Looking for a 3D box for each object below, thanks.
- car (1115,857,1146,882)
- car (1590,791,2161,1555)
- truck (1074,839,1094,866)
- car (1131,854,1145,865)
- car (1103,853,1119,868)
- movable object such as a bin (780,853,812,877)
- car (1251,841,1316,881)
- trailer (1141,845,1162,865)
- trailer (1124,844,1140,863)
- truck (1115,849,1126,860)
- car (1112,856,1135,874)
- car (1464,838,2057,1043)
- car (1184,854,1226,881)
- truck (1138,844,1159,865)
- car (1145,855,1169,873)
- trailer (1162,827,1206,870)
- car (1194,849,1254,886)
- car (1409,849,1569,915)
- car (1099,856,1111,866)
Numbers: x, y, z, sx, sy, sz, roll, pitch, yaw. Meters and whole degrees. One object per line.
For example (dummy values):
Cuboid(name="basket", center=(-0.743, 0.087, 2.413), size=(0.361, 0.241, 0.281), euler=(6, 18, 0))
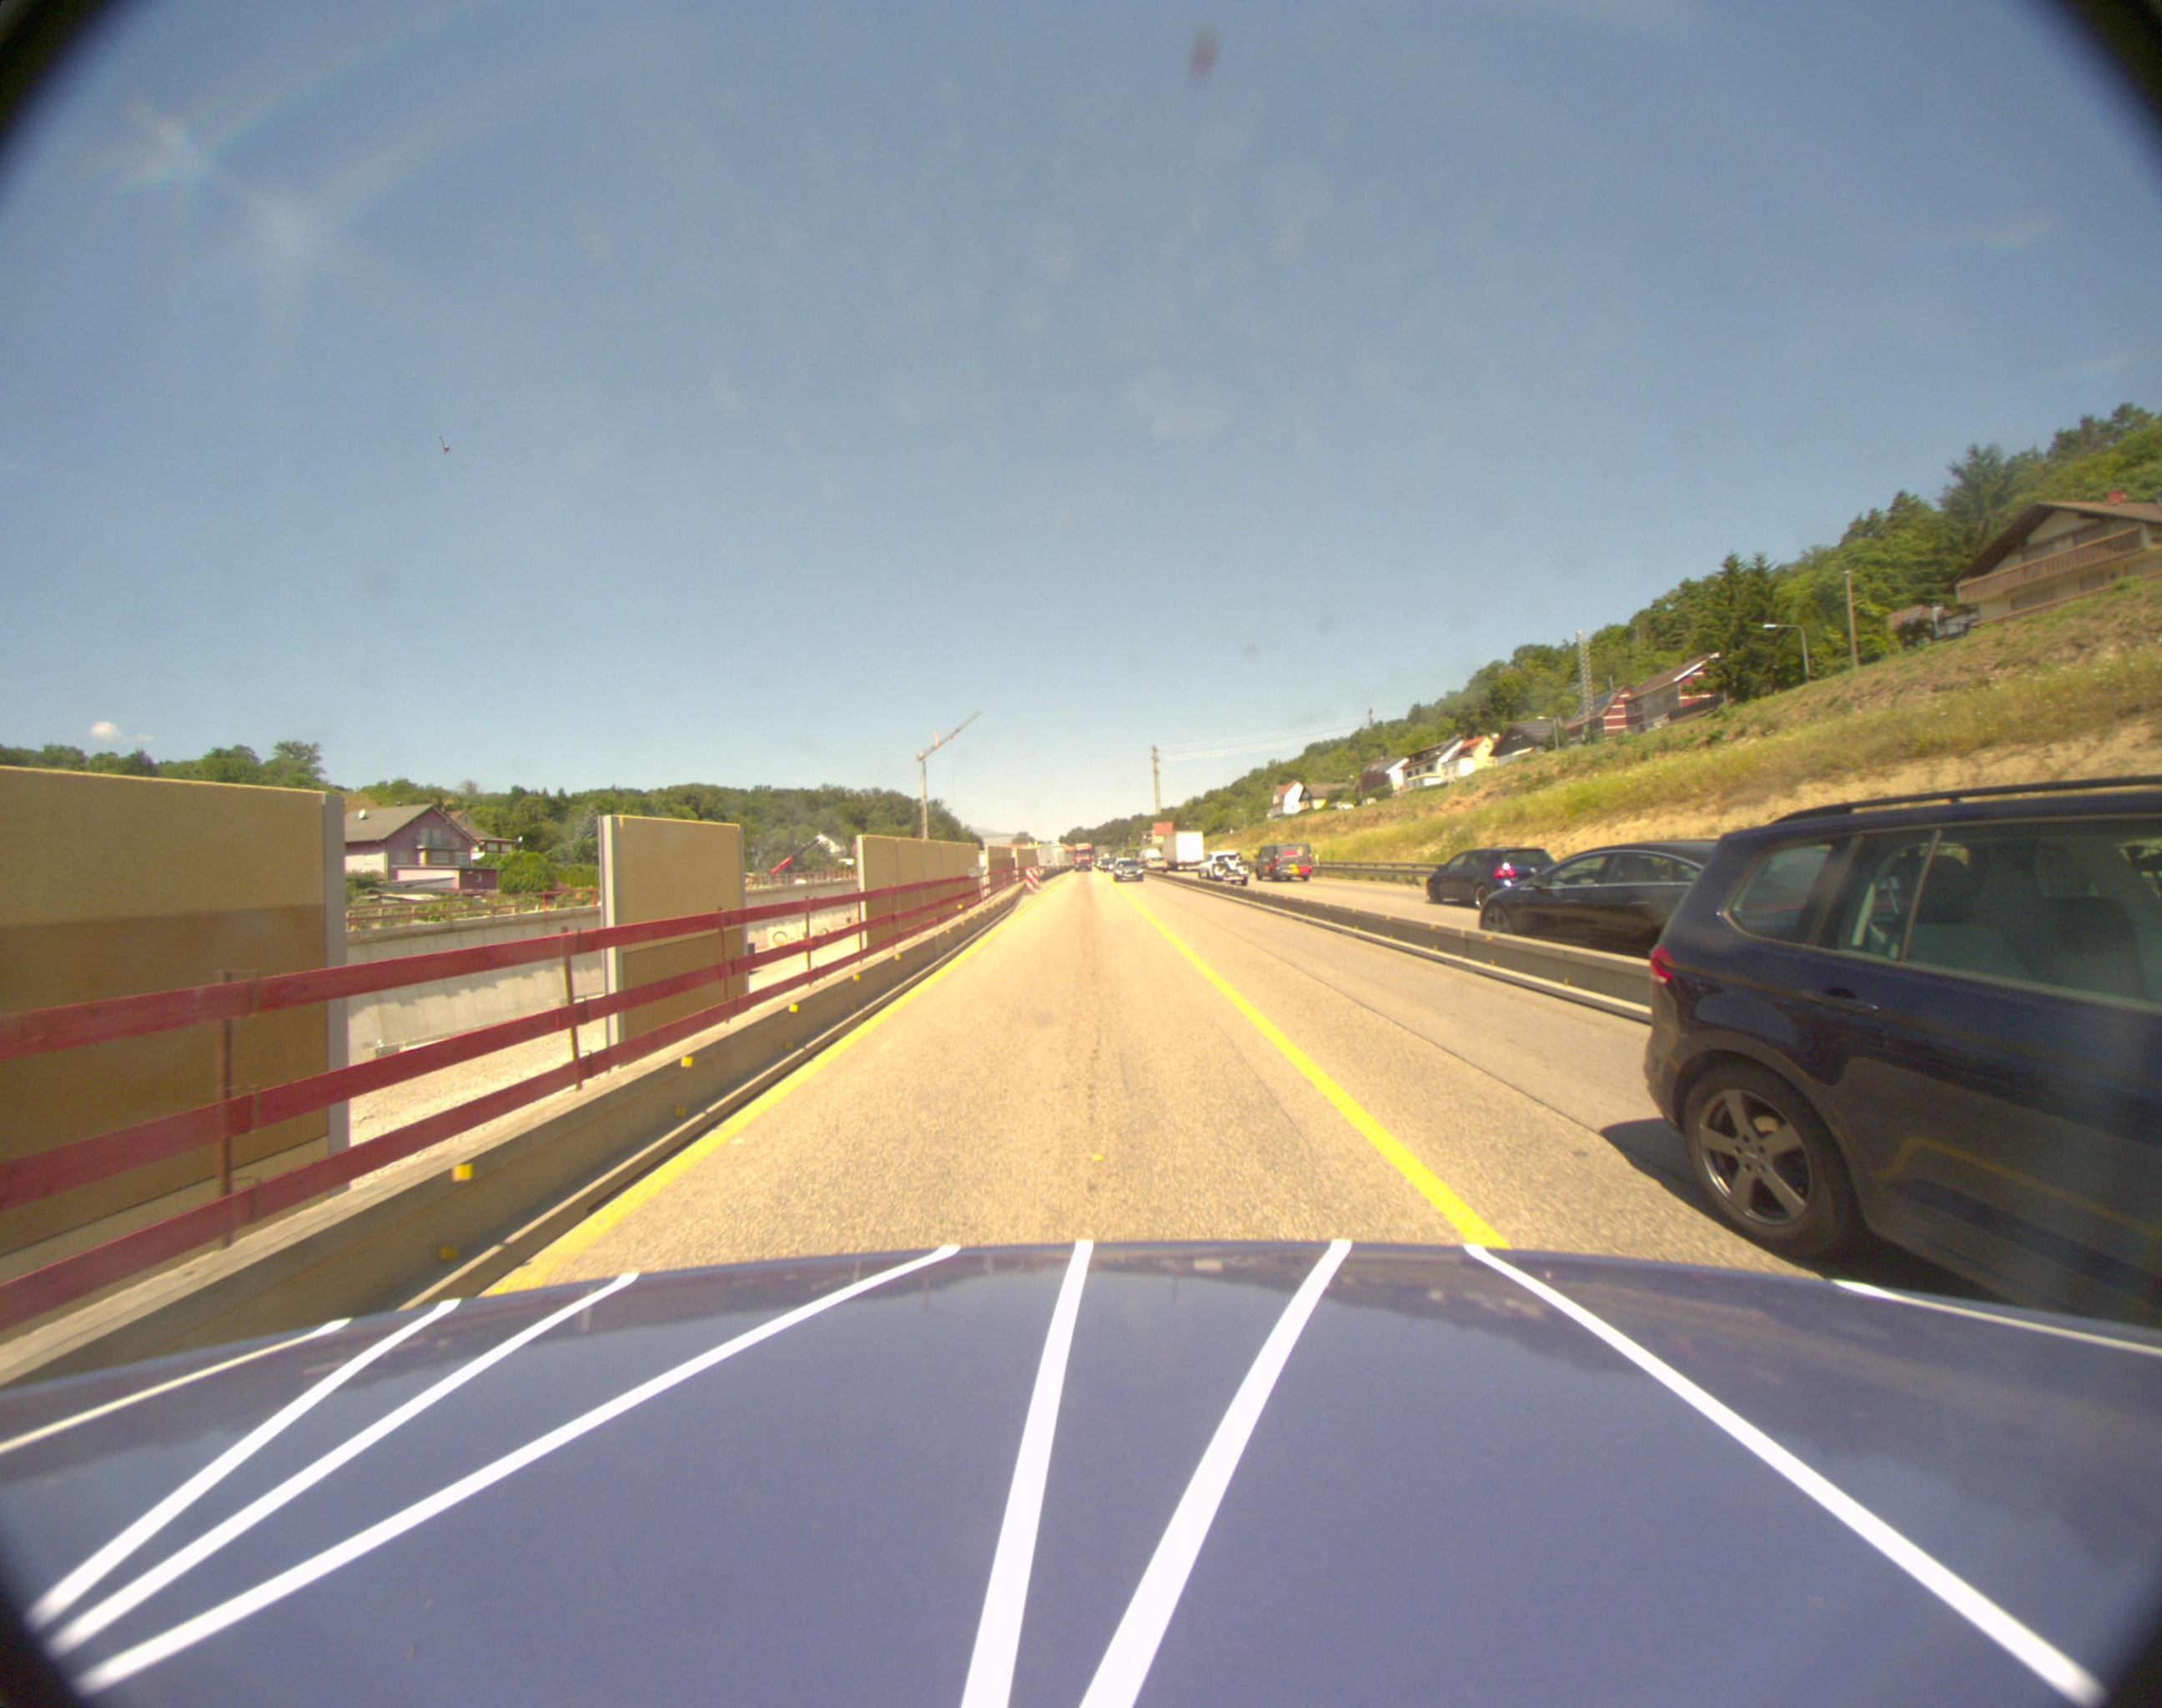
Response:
Cuboid(name="car", center=(3.153, 1.000, 49.076), size=(1.780, 1.447, 4.336), euler=(-2, -1, 1))
Cuboid(name="car", center=(3.268, 0.674, 1.213), size=(1.780, 1.708, 4.653), euler=(-2, -1, 1))
Cuboid(name="truck", center=(0.446, -0.202, 111.925), size=(2.605, 3.704, 10.537), euler=(-2, -1, 1))
Cuboid(name="car", center=(8.037, 0.764, 107.229), size=(1.674, 1.457, 4.000), euler=(-2, 0, 0))
Cuboid(name="car", center=(3.523, 0.762, 89.665), size=(1.780, 1.727, 4.336), euler=(-2, -1, 1))
Cuboid(name="movable object such as a bin", center=(-37.296, 1.443, 99.507), size=(2.202, 3.065, 4.918), euler=(-2, 0, 1))
Cuboid(name="car", center=(10.543, 0.334, 39.943), size=(2.043, 1.915, 5.121), euler=(-1, 0, 0))
Cuboid(name="trailer", center=(10.851, 0.158, 116.796), size=(2.619, 2.983, 6.370), euler=(-2, 0, 1))
Cuboid(name="trailer", center=(11.347, -0.075, 169.570), size=(2.920, 3.915, 10.527), euler=(-2, 0, 0))
Cuboid(name="truck", center=(12.740, 0.154, 246.704), size=(2.769, 3.303, 15.936), euler=(-2, 0, 0))
Cuboid(name="car", center=(3.679, 0.976, 66.133), size=(1.780, 1.447, 4.336), euler=(-2, -1, 1))
Cuboid(name="car", center=(6.479, 0.655, 8.354), size=(1.960, 1.490, 5.089), euler=(-2, 0, 0))
Cuboid(name="car", center=(6.960, 0.728, 42.974), size=(1.714, 1.410, 4.242), euler=(-2, 0, 0))
Cuboid(name="truck", center=(10.979, 0.108, 124.525), size=(2.733, 3.124, 8.959), euler=(-2, 0, 1))
Cuboid(name="car", center=(7.198, 0.928, 72.533), size=(1.837, 1.656, 4.414), euler=(-2, 0, 0))
Cuboid(name="trailer", center=(10.803, -0.537, 81.063), size=(2.793, 4.157, 13.978), euler=(-2, 0, 1))
Cuboid(name="car", center=(6.834, 0.611, 36.813), size=(1.844, 1.644, 5.371), euler=(-1, 0, 0))
Cuboid(name="car", center=(10.014, 0.621, 19.061), size=(1.714, 1.410, 4.242), euler=(-2, 0, 0))
Cuboid(name="car", center=(3.962, 1.200, 125.833), size=(1.780, 1.485, 4.336), euler=(-2, -1, 1))
